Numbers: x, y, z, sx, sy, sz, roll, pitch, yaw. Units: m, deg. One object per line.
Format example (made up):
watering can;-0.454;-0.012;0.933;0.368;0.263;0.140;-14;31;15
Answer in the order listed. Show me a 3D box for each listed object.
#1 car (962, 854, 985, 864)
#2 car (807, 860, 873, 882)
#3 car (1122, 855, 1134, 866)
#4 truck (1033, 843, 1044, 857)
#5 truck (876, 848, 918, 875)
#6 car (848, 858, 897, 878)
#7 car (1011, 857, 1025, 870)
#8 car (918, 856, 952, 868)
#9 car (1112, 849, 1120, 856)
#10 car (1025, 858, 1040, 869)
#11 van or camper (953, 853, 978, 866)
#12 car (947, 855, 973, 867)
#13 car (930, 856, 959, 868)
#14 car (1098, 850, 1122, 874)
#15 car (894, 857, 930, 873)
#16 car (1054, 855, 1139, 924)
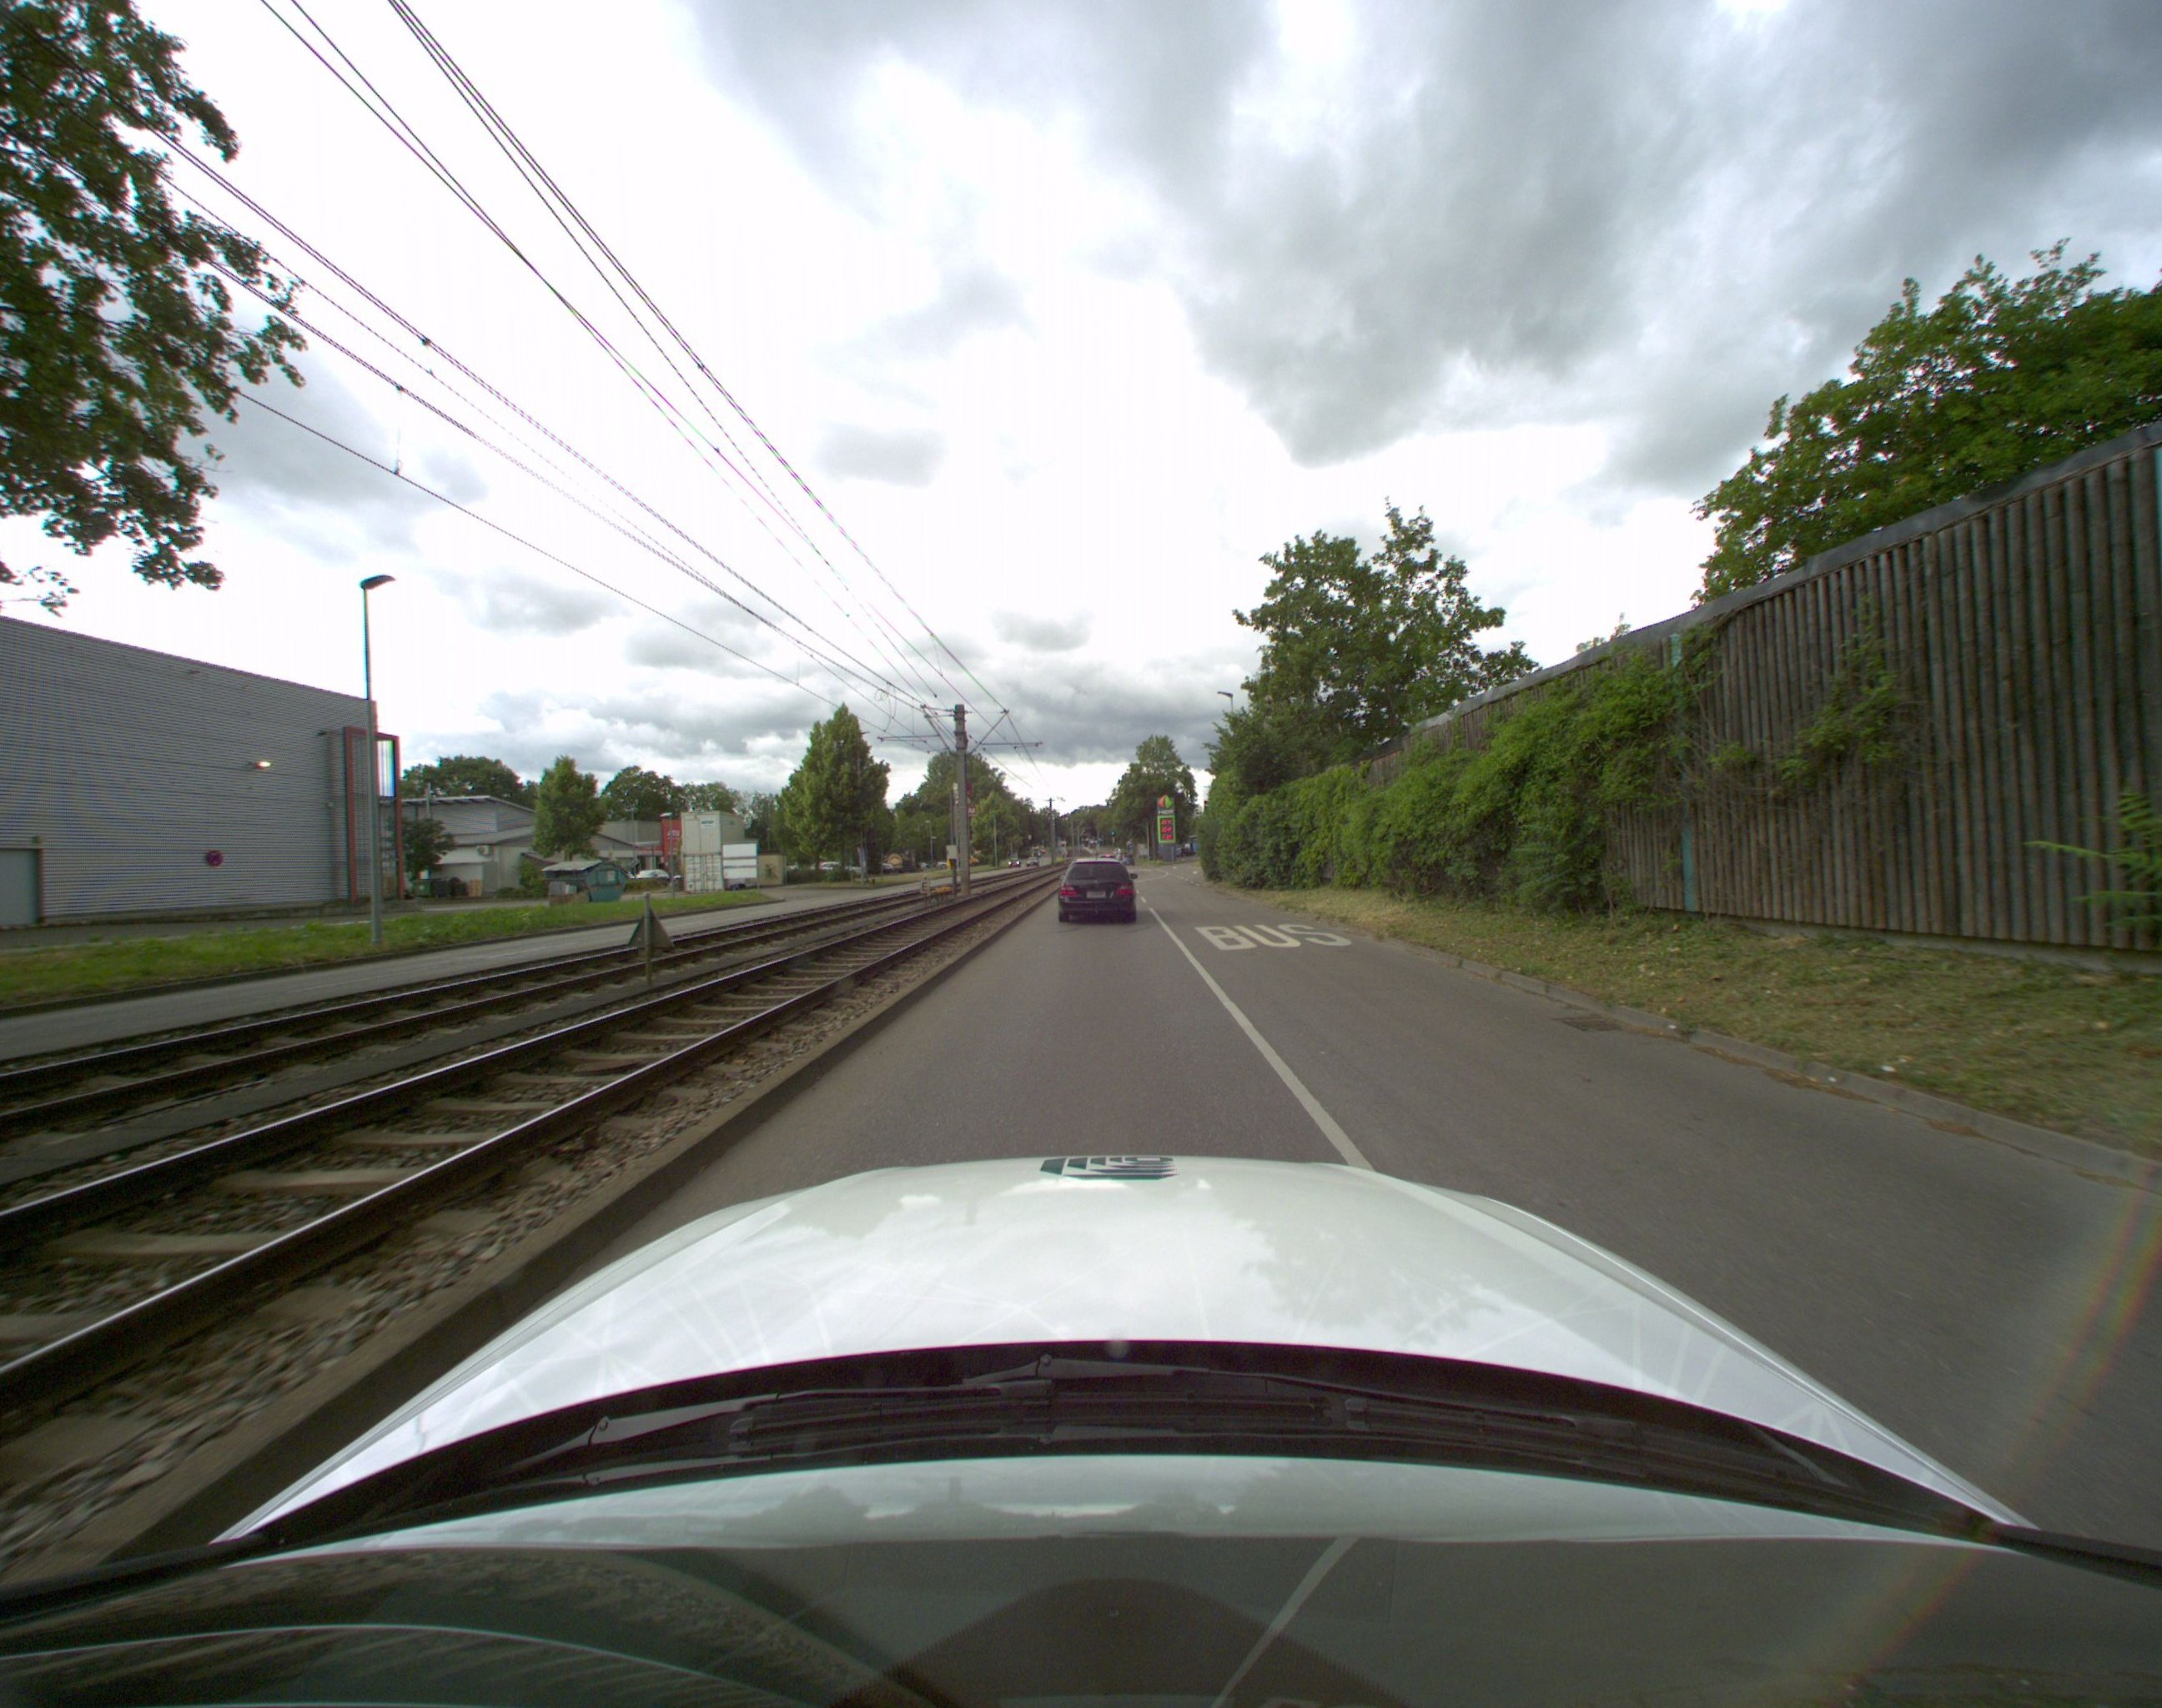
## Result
car;-19.471;0.972;147.351;3.978;1.599;1.794;-3;0;-3
car;-20.845;1.423;70.663;4.762;1.628;2.654;-2;0;2
car;6.030;0.806;104.726;1.565;1.414;3.355;0;-1;2
truck;-12.535;-1.161;238.722;2.698;3.663;11.106;-3;0;-1
truck;-20.135;0.816;89.349;3.976;2.821;2.375;-3;0;-1
car;-20.402;1.357;79.956;4.207;1.727;1.995;-3;0;-1
car;-9.777;1.457;126.425;1.786;1.772;3.999;-2;0;0
car;-20.140;1.125;112.336;4.294;1.472;1.680;-2;0;-1
car;9.505;-0.381;219.648;1.986;1.838;4.001;-1;0;2
car;-7.333;1.406;123.116;1.753;1.401;4.444;-5;0;1
van or camper;-19.696;0.953;138.599;3.978;2.135;1.876;-2;0;-3
car;-19.800;1.167;133.253;3.978;1.797;1.876;-2;0;-3
car;-20.344;1.185;121.081;3.978;1.599;1.876;-3;0;-3
car;2.191;0.602;62.641;1.774;1.750;3.719;0;-1;2
car;-20.470;1.320;98.850;3.978;1.797;1.876;-3;0;-3
car;0.398;0.773;19.623;1.802;1.474;3.882;-1;0;2
